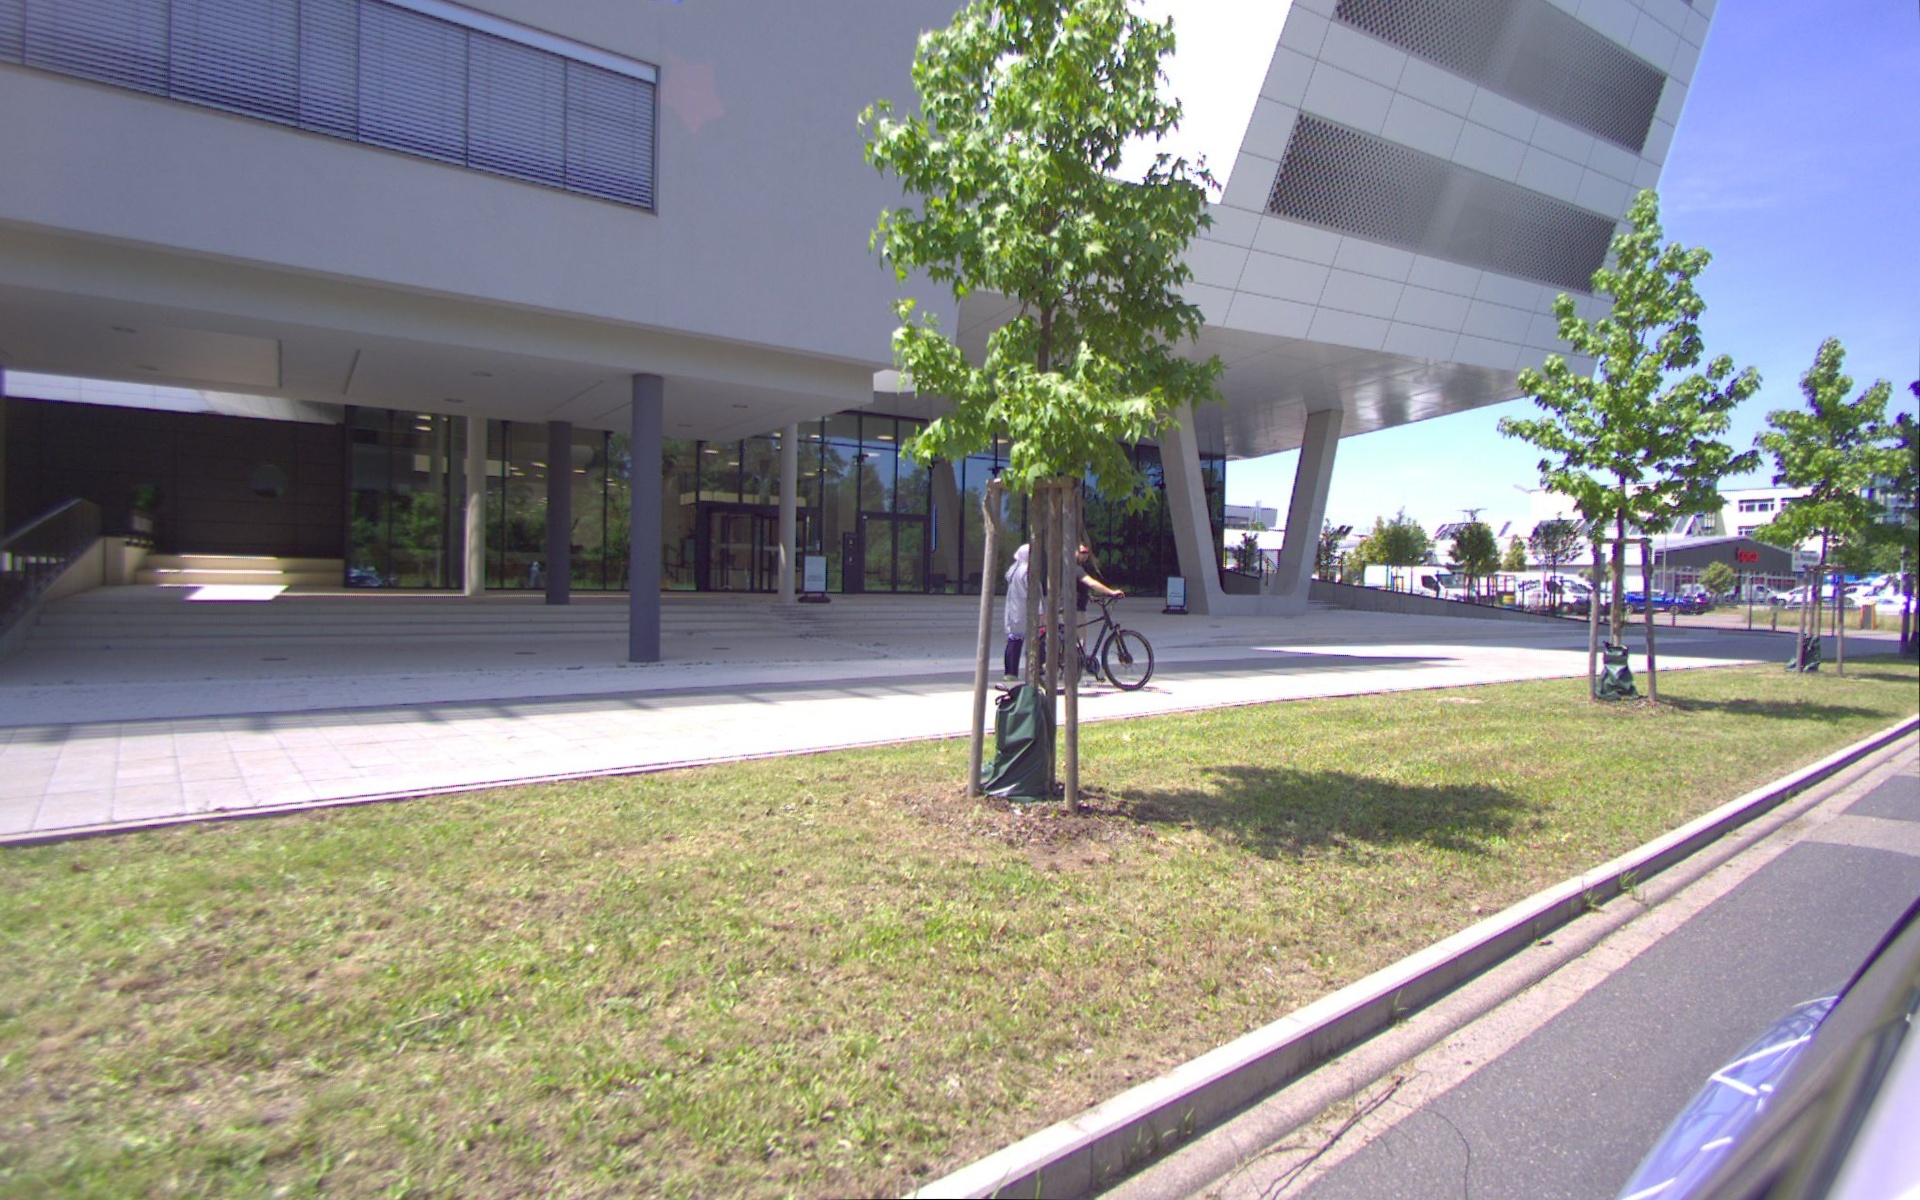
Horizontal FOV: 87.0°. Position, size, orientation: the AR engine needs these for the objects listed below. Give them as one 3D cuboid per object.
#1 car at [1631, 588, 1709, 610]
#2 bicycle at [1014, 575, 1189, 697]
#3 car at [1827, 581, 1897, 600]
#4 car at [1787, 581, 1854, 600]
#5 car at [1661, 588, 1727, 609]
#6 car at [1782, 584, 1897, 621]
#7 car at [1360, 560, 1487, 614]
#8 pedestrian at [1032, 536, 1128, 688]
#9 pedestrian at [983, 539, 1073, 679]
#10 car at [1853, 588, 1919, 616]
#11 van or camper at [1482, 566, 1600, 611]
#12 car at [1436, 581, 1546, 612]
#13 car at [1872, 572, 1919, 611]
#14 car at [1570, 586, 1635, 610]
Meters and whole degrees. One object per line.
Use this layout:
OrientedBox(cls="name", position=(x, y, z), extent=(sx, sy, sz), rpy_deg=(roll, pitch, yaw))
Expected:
OrientedBox(cls="car", position=(45.111, -0.089, 64.381), extent=(1.430, 1.387, 3.822), rpy_deg=(0, 0, -33))
OrientedBox(cls="bicycle", position=(1.656, 0.366, 11.546), extent=(2.265, 1.270, 0.644), rpy_deg=(-1, 0, -41))
OrientedBox(cls="car", position=(80.074, -0.841, 89.872), extent=(1.670, 1.678, 4.328), rpy_deg=(0, 0, -33))
OrientedBox(cls="car", position=(70.825, -0.790, 83.354), extent=(1.670, 1.561, 3.923), rpy_deg=(0, 0, -33))
OrientedBox(cls="car", position=(47.578, -0.112, 65.638), extent=(1.381, 1.367, 3.232), rpy_deg=(0, 0, -33))
OrientedBox(cls="car", position=(41.380, 0.097, 47.695), extent=(1.709, 1.695, 3.824), rpy_deg=(0, 0, -36))
OrientedBox(cls="car", position=(22.932, -0.636, 50.325), extent=(1.961, 2.491, 5.590), rpy_deg=(0, 0, -33))
OrientedBox(cls="pedestrian", position=(1.424, 0.126, 12.048), extent=(0.762, 1.722, 0.844), rpy_deg=(0, 0, -41))
OrientedBox(cls="pedestrian", position=(0.852, 0.103, 12.704), extent=(0.762, 1.681, 0.844), rpy_deg=(0, 0, -41))
OrientedBox(cls="car", position=(49.472, 0.103, 52.849), extent=(1.622, 1.410, 3.999), rpy_deg=(0, 0, -36))
OrientedBox(cls="van or camper", position=(33.078, -0.644, 57.774), extent=(1.670, 2.420, 5.709), rpy_deg=(0, 0, -33))
OrientedBox(cls="car", position=(29.125, -0.203, 55.680), extent=(1.670, 1.661, 5.234), rpy_deg=(0, 0, -33))
OrientedBox(cls="car", position=(55.602, -0.485, 56.583), extent=(2.123, 2.176, 6.503), rpy_deg=(0, 0, -33))
OrientedBox(cls="car", position=(36.347, -0.143, 57.318), extent=(1.177, 1.320, 2.900), rpy_deg=(0, 0, -33))
